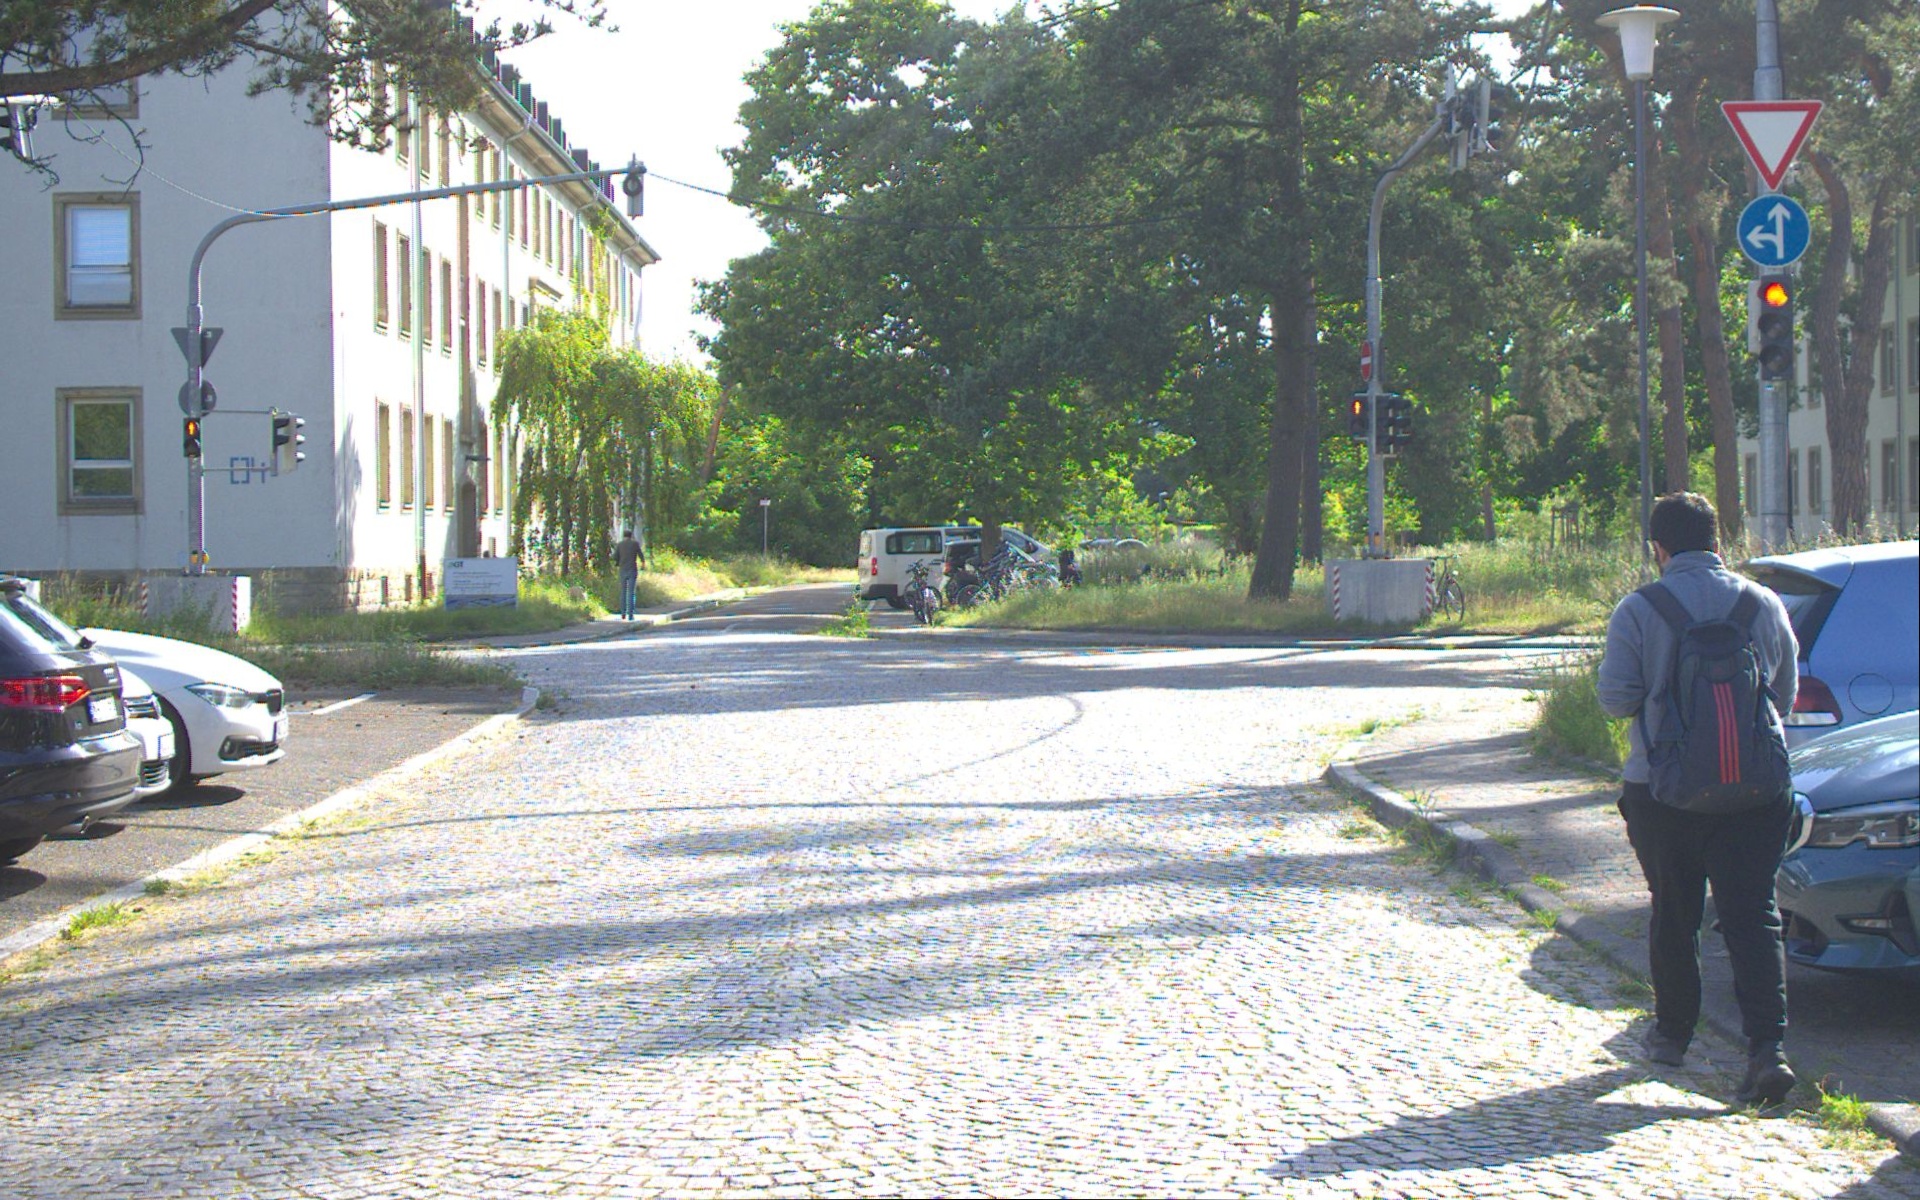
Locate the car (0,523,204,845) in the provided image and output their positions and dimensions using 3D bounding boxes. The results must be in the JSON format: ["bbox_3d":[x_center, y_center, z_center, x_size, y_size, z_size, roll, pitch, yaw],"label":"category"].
[{"bbox_3d":[-6.151,0.364,18.281,3.879,1.610,1.661,2,1,-1],"label":"car"}]

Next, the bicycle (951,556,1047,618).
[{"bbox_3d":[0.708,-0.243,63.194,1.727,1.108,0.484,-1,1,-4],"label":"bicycle"}]

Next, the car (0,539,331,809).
[{"bbox_3d":[-6.031,0.379,20.898,3.987,1.491,1.772,2,1,4],"label":"car"}]

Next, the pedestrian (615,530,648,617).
[{"bbox_3d":[-6.598,-0.541,69.043,0.607,1.746,0.630,0,1,-1],"label":"pedestrian"}]

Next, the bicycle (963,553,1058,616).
[{"bbox_3d":[0.936,-0.292,63.875,1.727,1.160,0.561,-1,1,-4],"label":"bicycle"}]

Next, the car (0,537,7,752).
[{"bbox_3d":[-5.644,0.463,12.850,3.685,1.522,1.699,2,1,-3],"label":"car"}]

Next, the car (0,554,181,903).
[{"bbox_3d":[-5.693,0.464,15.514,3.937,1.440,1.691,3,1,-1],"label":"car"}]

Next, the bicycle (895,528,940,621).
[{"bbox_3d":[-0.737,-0.453,59.183,0.753,1.575,2.537,0,1,-1],"label":"bicycle"}]

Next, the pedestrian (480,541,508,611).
[{"bbox_3d":[-10.380,-0.541,76.549,0.606,1.554,0.545,0,1,-7],"label":"pedestrian"}]

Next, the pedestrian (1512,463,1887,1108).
[{"bbox_3d":[2.096,0.502,9.849,0.753,1.719,0.828,4,1,-1],"label":"pedestrian"}]

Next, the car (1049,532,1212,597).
[{"bbox_3d":[4.166,-0.881,84.474,3.743,1.574,1.742,0,1,-7],"label":"car"}]

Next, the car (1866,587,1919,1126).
[{"bbox_3d":[4.671,0.611,8.387,4.399,1.384,1.789,-2,1,-1],"label":"car"}]

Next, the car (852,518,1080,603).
[{"bbox_3d":[0.131,-0.937,80.532,5.065,1.911,2.001,-1,1,-10],"label":"car"}]

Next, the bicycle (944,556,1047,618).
[{"bbox_3d":[0.646,-0.234,62.649,1.834,1.108,0.495,-1,1,-4],"label":"bicycle"}]

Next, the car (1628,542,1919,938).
[{"bbox_3d":[4.689,0.468,13.712,3.673,1.438,1.665,-2,1,0],"label":"car"}]

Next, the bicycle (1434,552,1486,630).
[{"bbox_3d":[7.391,-0.144,50.762,0.722,1.111,2.583,0,1,9],"label":"bicycle"}]

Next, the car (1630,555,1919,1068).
[{"bbox_3d":[4.709,0.528,11.135,4.619,1.450,1.870,-3,1,-3],"label":"car"}]

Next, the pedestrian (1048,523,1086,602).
[{"bbox_3d":[2.455,-0.862,78.862,0.759,1.777,0.684,-1,1,-8],"label":"pedestrian"}]
